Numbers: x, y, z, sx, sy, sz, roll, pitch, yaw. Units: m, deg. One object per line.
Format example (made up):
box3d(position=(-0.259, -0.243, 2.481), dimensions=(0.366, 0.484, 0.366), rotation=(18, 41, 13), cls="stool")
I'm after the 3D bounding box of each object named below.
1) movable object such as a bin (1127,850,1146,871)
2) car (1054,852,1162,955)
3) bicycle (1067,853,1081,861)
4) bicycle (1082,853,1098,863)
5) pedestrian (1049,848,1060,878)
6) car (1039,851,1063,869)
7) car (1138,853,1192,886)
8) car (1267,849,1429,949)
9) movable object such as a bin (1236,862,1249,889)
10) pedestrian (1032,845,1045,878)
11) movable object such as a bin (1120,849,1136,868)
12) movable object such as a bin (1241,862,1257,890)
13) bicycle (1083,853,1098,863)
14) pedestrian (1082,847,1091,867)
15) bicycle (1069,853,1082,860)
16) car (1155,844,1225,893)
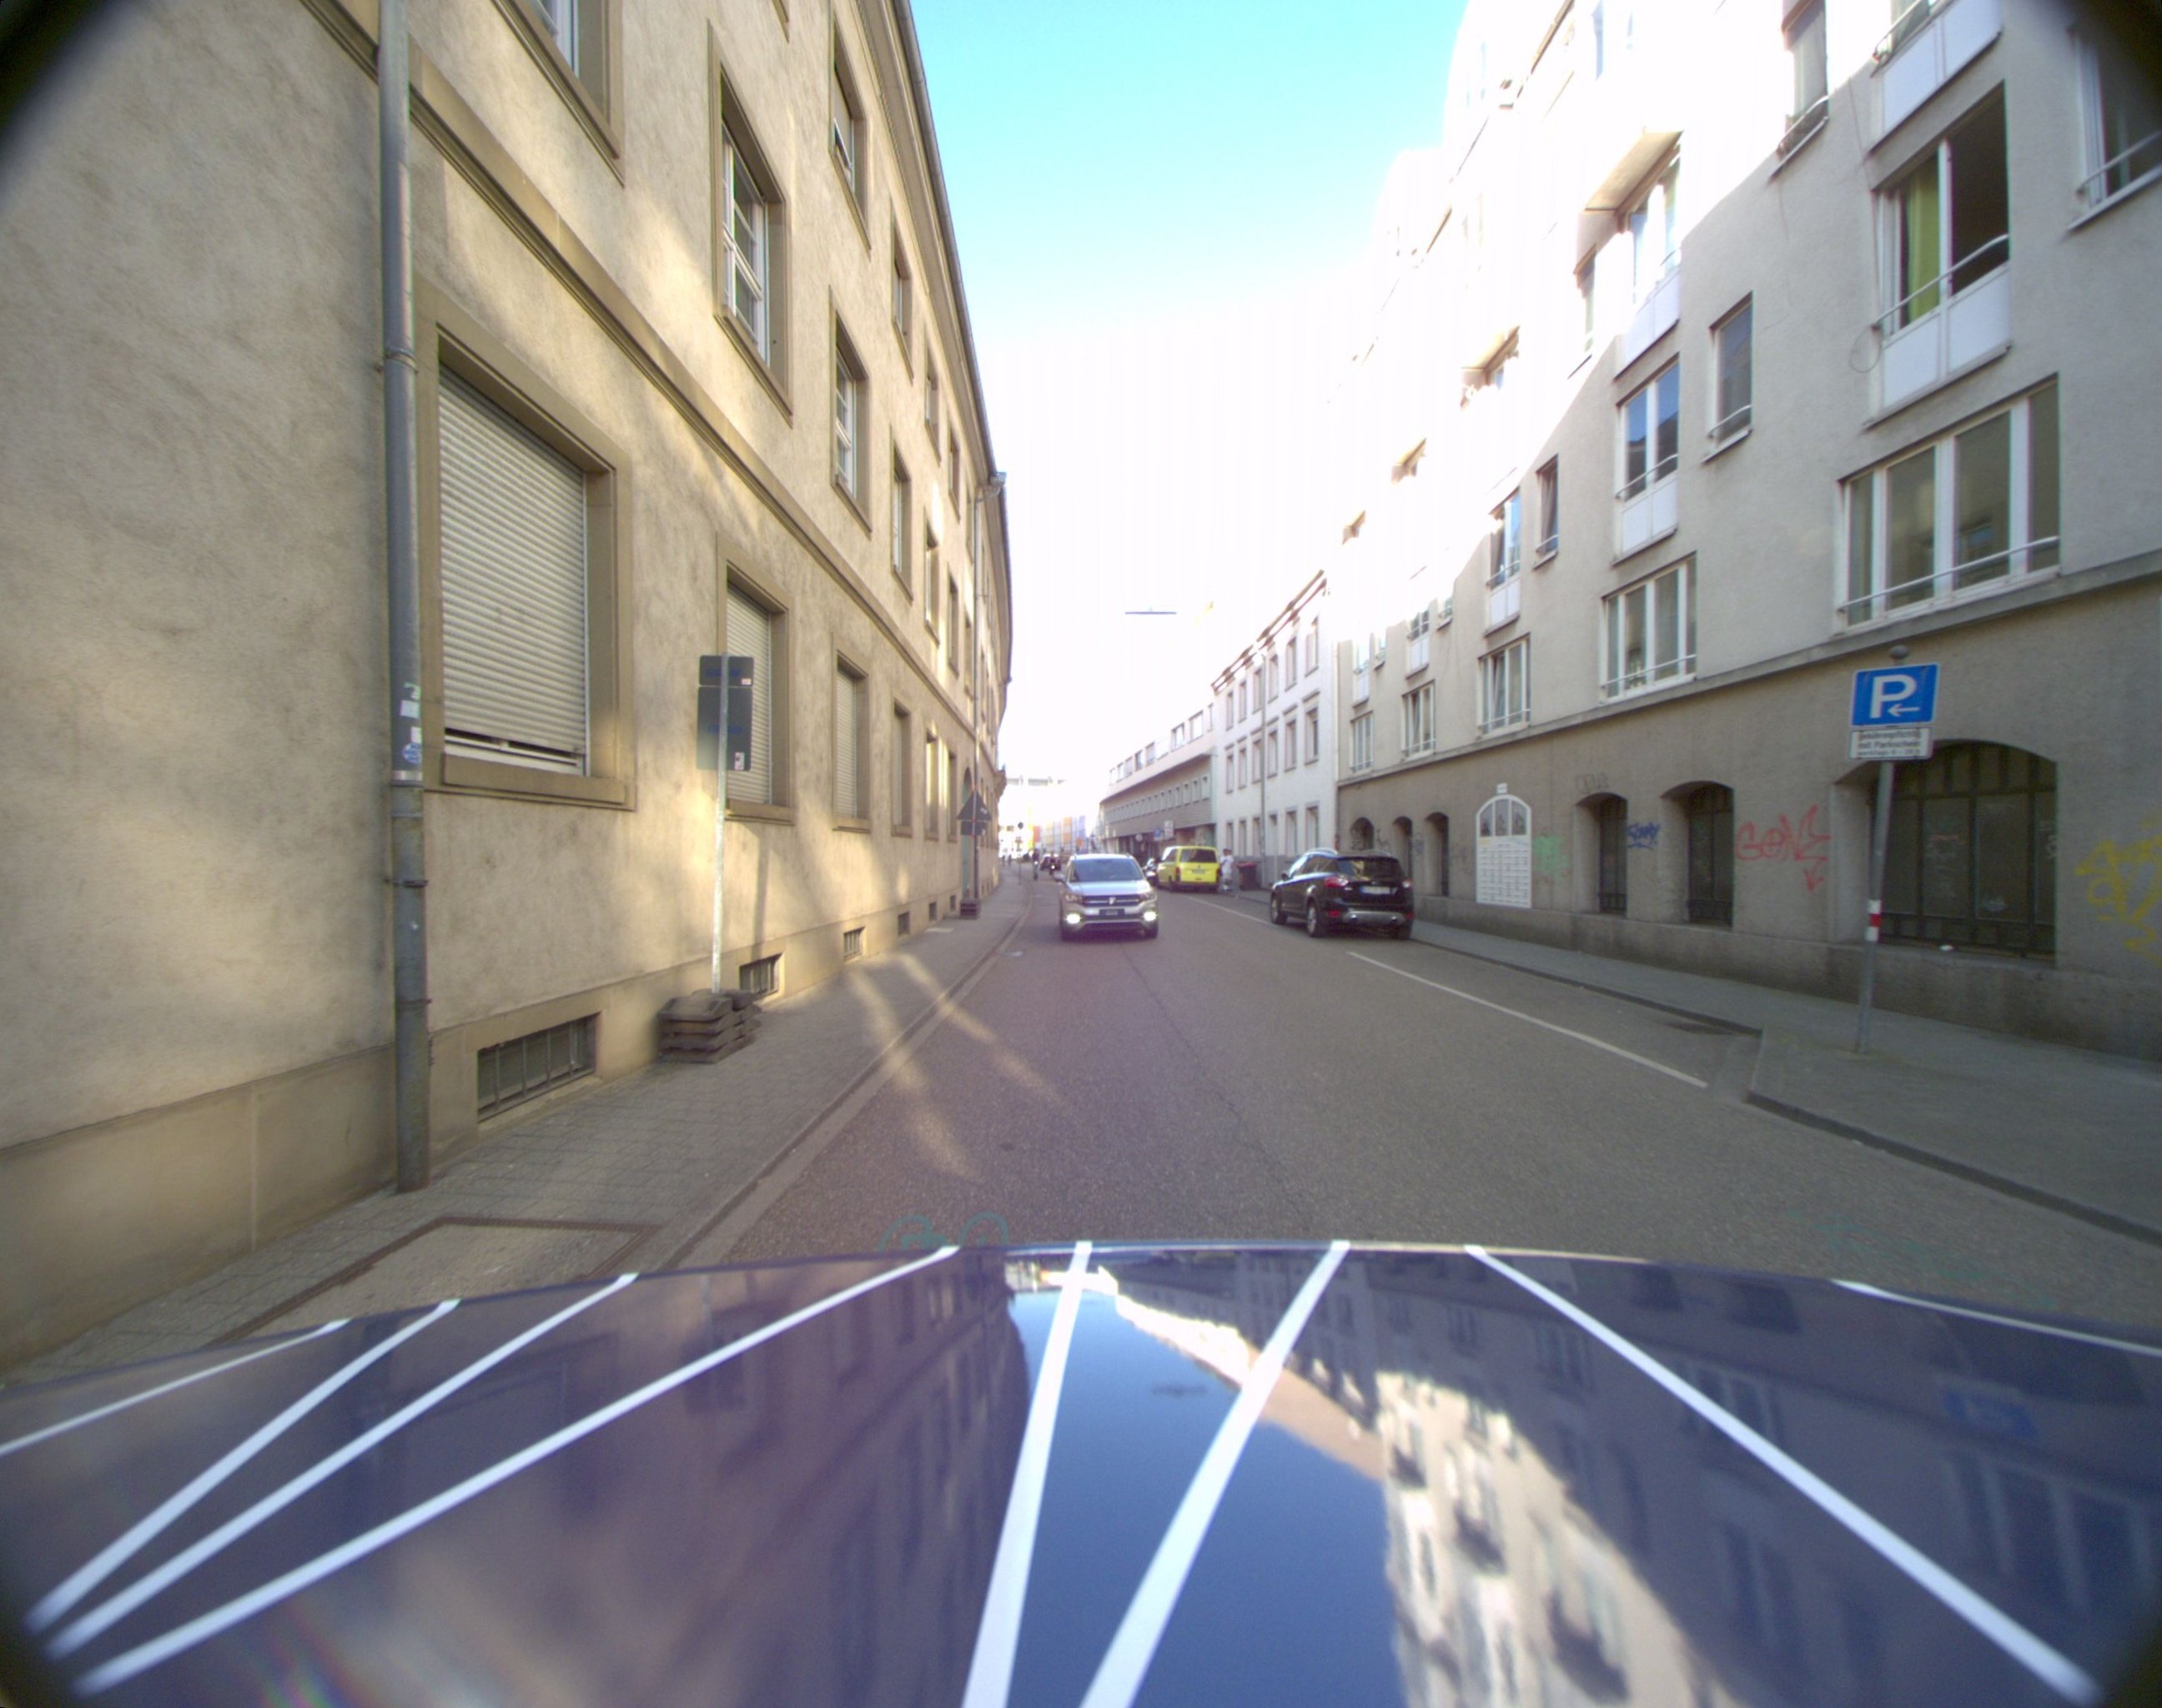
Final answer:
box3d(position=(4.050, 0.454, 55.920), dimensions=(1.126, 1.511, 1.341), rotation=(-1, 0, -8), cls="movable object such as a bin")
box3d(position=(0.380, 0.823, 14.759), dimensions=(1.683, 1.568, 4.241), rotation=(-4, 1, -2), cls="car")
box3d(position=(-1.014, 0.426, 105.841), dimensions=(1.804, 0.941, 0.388), rotation=(-4, 1, -8), cls="bicycle")
box3d(position=(1.069, 0.469, 92.098), dimensions=(1.821, 1.094, 0.749), rotation=(-4, 1, -8), cls="bicycle")
box3d(position=(-1.616, 0.556, 45.994), dimensions=(0.603, 1.770, 0.651), rotation=(-1, 1, -9), cls="pedestrian")
box3d(position=(-2.779, 0.495, 69.091), dimensions=(1.720, 1.569, 4.186), rotation=(-1, 1, -9), cls="car")
box3d(position=(4.130, 0.714, 37.873), dimensions=(1.824, 1.477, 4.074), rotation=(2, 0, -6), cls="car")
box3d(position=(5.192, 0.783, 15.413), dimensions=(1.744, 1.701, 4.190), rotation=(2, 0, 0), cls="car")
box3d(position=(6.564, 0.880, 30.871), dimensions=(0.411, 1.098, 0.433), rotation=(0, 1, -2), cls="movable object such as a bin")
box3d(position=(-2.576, 0.436, 45.780), dimensions=(0.678, 1.928, 0.857), rotation=(-1, 1, -9), cls="pedestrian")
box3d(position=(3.569, 0.342, 57.970), dimensions=(0.971, 1.463, 1.474), rotation=(-1, -1, -8), cls="movable object such as a bin")
box3d(position=(6.656, 0.889, 30.161), dimensions=(0.542, 1.098, 0.433), rotation=(0, 1, -2), cls="movable object such as a bin")
box3d(position=(1.132, 0.446, 93.556), dimensions=(1.740, 1.094, 0.388), rotation=(-5, 1, -15), cls="bicycle")
box3d(position=(0.505, 0.286, 64.476), dimensions=(0.494, 1.660, 0.627), rotation=(-3, 1, -20), cls="pedestrian")
box3d(position=(-0.752, 0.346, 106.577), dimensions=(1.804, 0.941, 0.388), rotation=(-4, 1, -8), cls="bicycle")
box3d(position=(4.513, 0.548, 32.286), dimensions=(1.885, 1.856, 4.861), rotation=(2, 0, -4), cls="car")
